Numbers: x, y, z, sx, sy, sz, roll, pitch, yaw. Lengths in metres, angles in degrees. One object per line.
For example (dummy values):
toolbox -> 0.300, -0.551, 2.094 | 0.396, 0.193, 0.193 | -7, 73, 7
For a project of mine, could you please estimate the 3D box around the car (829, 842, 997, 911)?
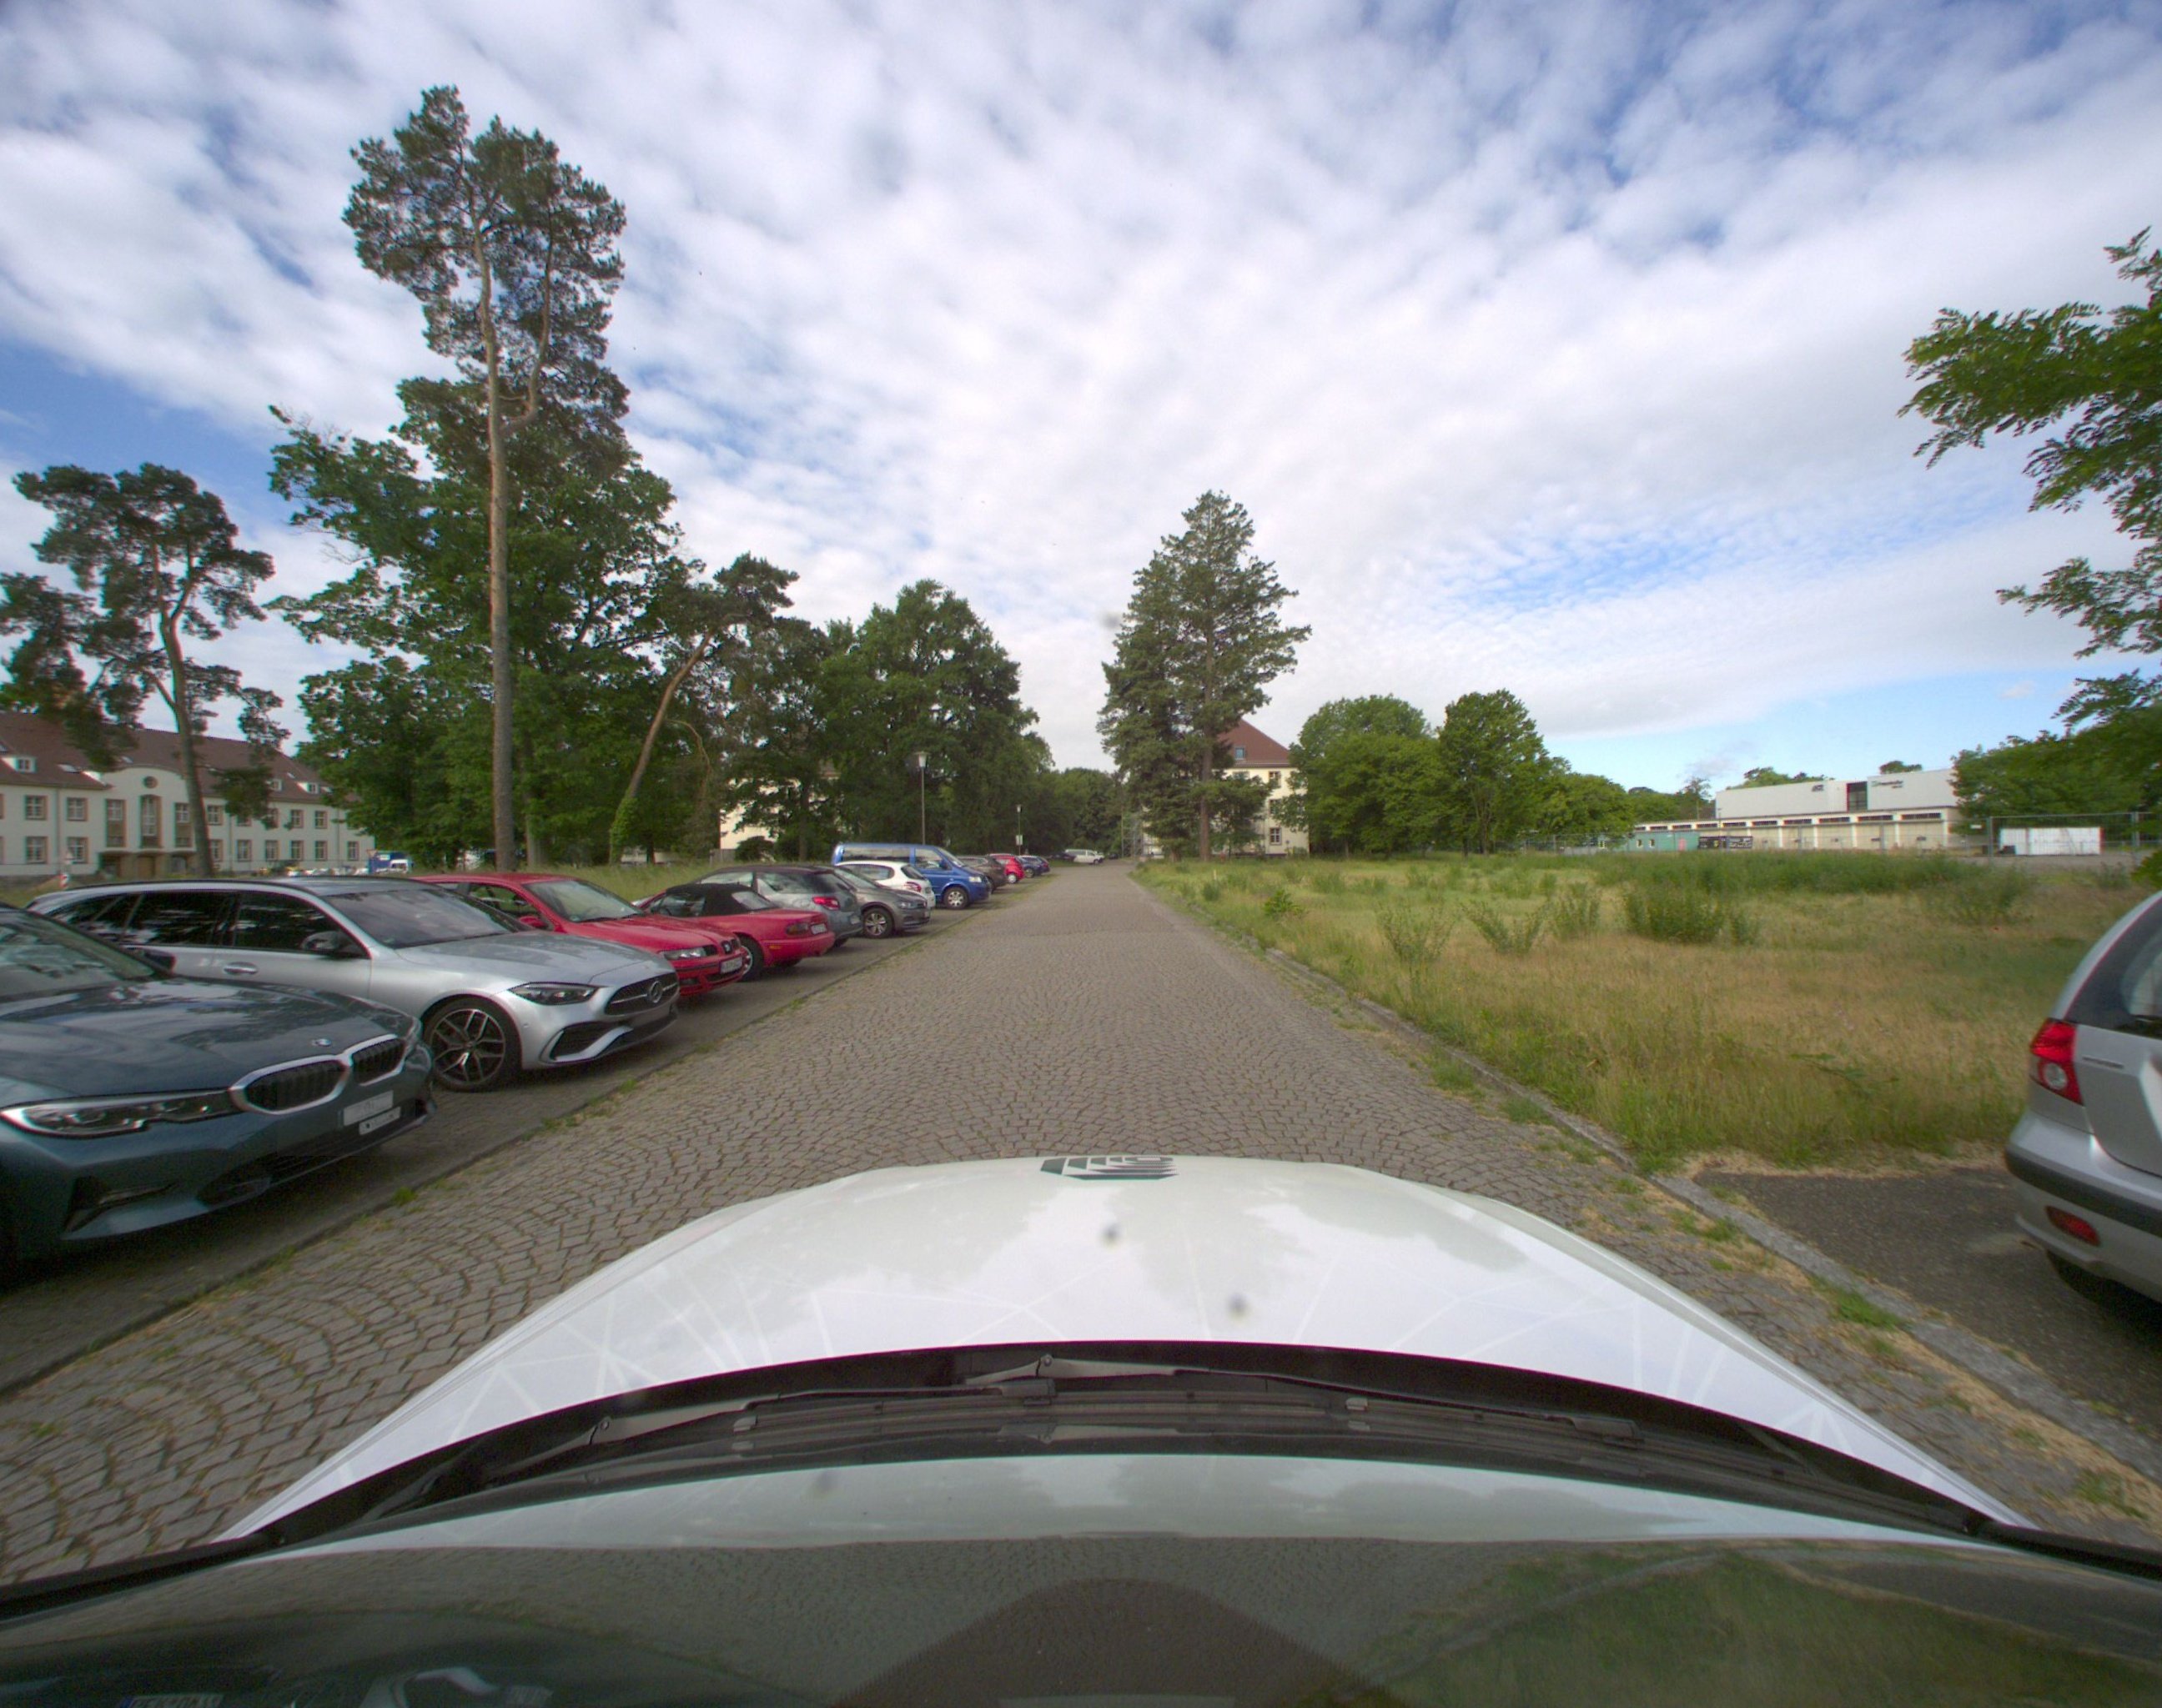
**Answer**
car -> -5.037, 0.651, 24.938 | 4.694, 1.980, 2.038 | -1, 0, 0

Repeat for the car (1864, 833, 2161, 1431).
car -> 4.616, 0.626, 2.000 | 3.762, 1.479, 1.742 | -4, 1, -2

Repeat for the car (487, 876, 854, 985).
car -> -5.454, 0.996, 11.208 | 4.116, 1.283, 1.764 | -1, 0, 1

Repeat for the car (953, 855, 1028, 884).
car -> -4.858, 0.827, 44.125 | 3.803, 1.489, 1.787 | -1, 0, 0

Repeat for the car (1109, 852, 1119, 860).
car -> 7.037, 0.465, 174.344 | 1.784, 1.720, 4.059 | -1, -1, 0

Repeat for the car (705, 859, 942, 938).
car -> -5.184, 0.883, 16.771 | 4.287, 1.480, 1.732 | -1, 0, 2

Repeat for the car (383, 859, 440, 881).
car -> -67.164, 1.642, 81.828 | 2.055, 2.095, 4.345 | -2, -2, 1

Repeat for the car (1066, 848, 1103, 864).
car -> 0.457, 0.337, 108.019 | 4.962, 2.073, 2.051 | 0, -2, -1

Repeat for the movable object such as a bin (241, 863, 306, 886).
movable object such as a bin -> -82.544, 2.130, 83.308 | 4.485, 2.254, 2.383 | -1, -2, 5

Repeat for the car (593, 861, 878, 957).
car -> -5.750, 0.893, 13.892 | 4.072, 1.480, 1.756 | -1, 0, 2

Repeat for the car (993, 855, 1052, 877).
car -> -4.194, 0.863, 59.070 | 4.053, 1.467, 1.628 | -1, 0, 4

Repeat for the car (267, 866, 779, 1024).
car -> -5.757, 0.894, 8.827 | 4.239, 1.455, 1.855 | -1, 0, 1

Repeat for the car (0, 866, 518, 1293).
car -> -5.585, 0.856, 3.831 | 4.490, 1.537, 1.869 | -1, -1, -3

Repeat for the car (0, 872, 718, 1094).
car -> -5.567, 0.904, 6.517 | 4.420, 1.455, 1.950 | -1, -1, 1

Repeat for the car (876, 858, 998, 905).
car -> -4.798, 0.903, 27.522 | 3.783, 1.493, 1.725 | -1, 0, -2

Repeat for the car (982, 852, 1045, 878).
car -> -4.491, 0.722, 54.375 | 4.059, 1.604, 1.787 | -1, 0, -1

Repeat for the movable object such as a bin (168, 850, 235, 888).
movable object such as a bin -> -88.420, 1.528, 81.876 | 6.067, 3.642, 2.151 | -2, -2, 18

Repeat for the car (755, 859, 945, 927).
car -> -5.470, 0.904, 19.640 | 3.989, 1.501, 1.844 | -1, 0, 2

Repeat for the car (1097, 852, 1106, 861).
car -> 4.416, 0.557, 174.042 | 1.784, 1.636, 4.059 | -1, -1, 0

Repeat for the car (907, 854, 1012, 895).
car -> -4.983, 0.832, 33.810 | 4.055, 1.575, 1.954 | -1, 0, -1
